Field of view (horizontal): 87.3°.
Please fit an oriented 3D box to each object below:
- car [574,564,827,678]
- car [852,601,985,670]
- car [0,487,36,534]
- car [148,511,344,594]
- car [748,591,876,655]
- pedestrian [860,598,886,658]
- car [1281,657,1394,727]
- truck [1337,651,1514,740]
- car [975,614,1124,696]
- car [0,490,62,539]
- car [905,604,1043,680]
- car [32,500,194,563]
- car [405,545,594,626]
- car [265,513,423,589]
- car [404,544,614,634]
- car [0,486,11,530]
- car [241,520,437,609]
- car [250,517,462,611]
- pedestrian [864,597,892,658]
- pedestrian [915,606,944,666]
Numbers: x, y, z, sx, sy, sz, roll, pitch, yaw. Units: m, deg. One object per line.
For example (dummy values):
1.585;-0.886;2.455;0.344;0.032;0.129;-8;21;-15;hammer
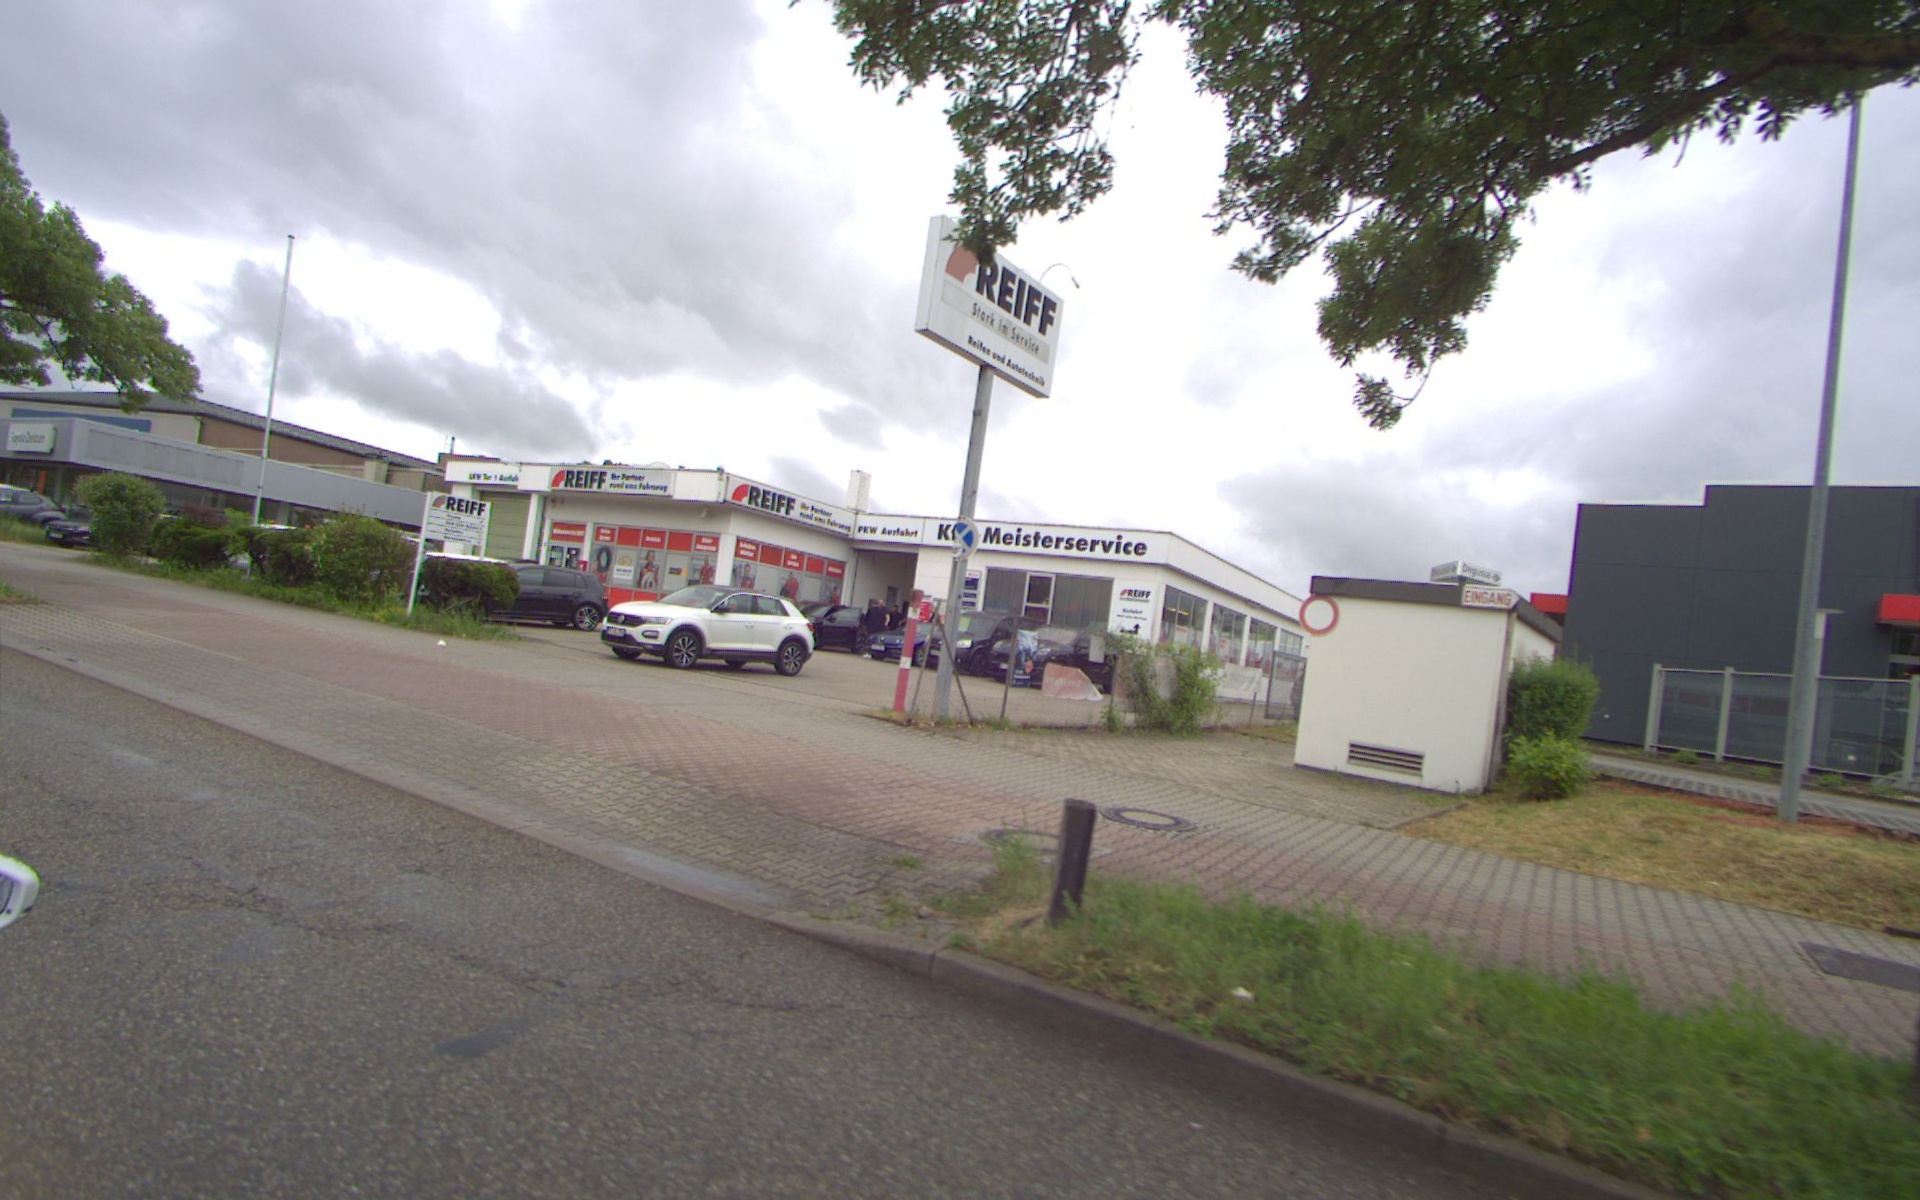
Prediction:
-4.675;0.458;18.668;1.861;1.570;4.177;7;-2;36;car
-1.115;1.068;29.049;1.747;1.598;3.993;7;-1;32;car
-34.871;-3.270;34.728;1.781;1.564;3.989;7;2;29;car
-19.314;-1.267;27.303;4.041;1.616;1.961;8;-1;-42;car
-4.454;0.739;30.838;1.757;1.495;3.856;6;-3;30;car
-2.580;0.836;29.851;0.506;1.725;0.439;7;-1;3;pedestrian
11.363;2.796;30.107;1.875;1.721;4.164;6;-2;38;car
24.695;5.037;53.574;8.032;3.566;2.279;6;-3;32;truck
2.420;1.484;26.345;1.927;1.699;3.989;7;-2;36;car
-32.729;-2.967;33.464;1.796;1.481;3.837;7;2;27;car
0.476;1.221;28.029;1.925;1.699;3.993;7;-1;32;car
-28.264;-2.246;33.675;1.764;1.481;3.685;7;-1;30;car
-11.673;-0.333;25.661;1.709;1.541;3.922;7;-1;42;car
-23.469;-1.806;38.523;1.931;2.175;4.666;7;-2;27;car
-10.328;-0.211;23.249;1.695;1.540;3.981;7;-1;42;car
-36.880;-3.516;35.902;1.781;1.606;3.989;7;2;29;car
-16.357;-0.907;26.594;4.124;1.683;1.801;8;0;-39;car
-14.982;-0.855;25.095;4.130;1.683;1.798;8;0;-43;car
-2.510;0.849;30.845;0.509;1.806;0.436;6;-1;45;pedestrian
-0.969;1.127;31.681;0.496;1.806;0.515;6;-1;34;pedestrian
